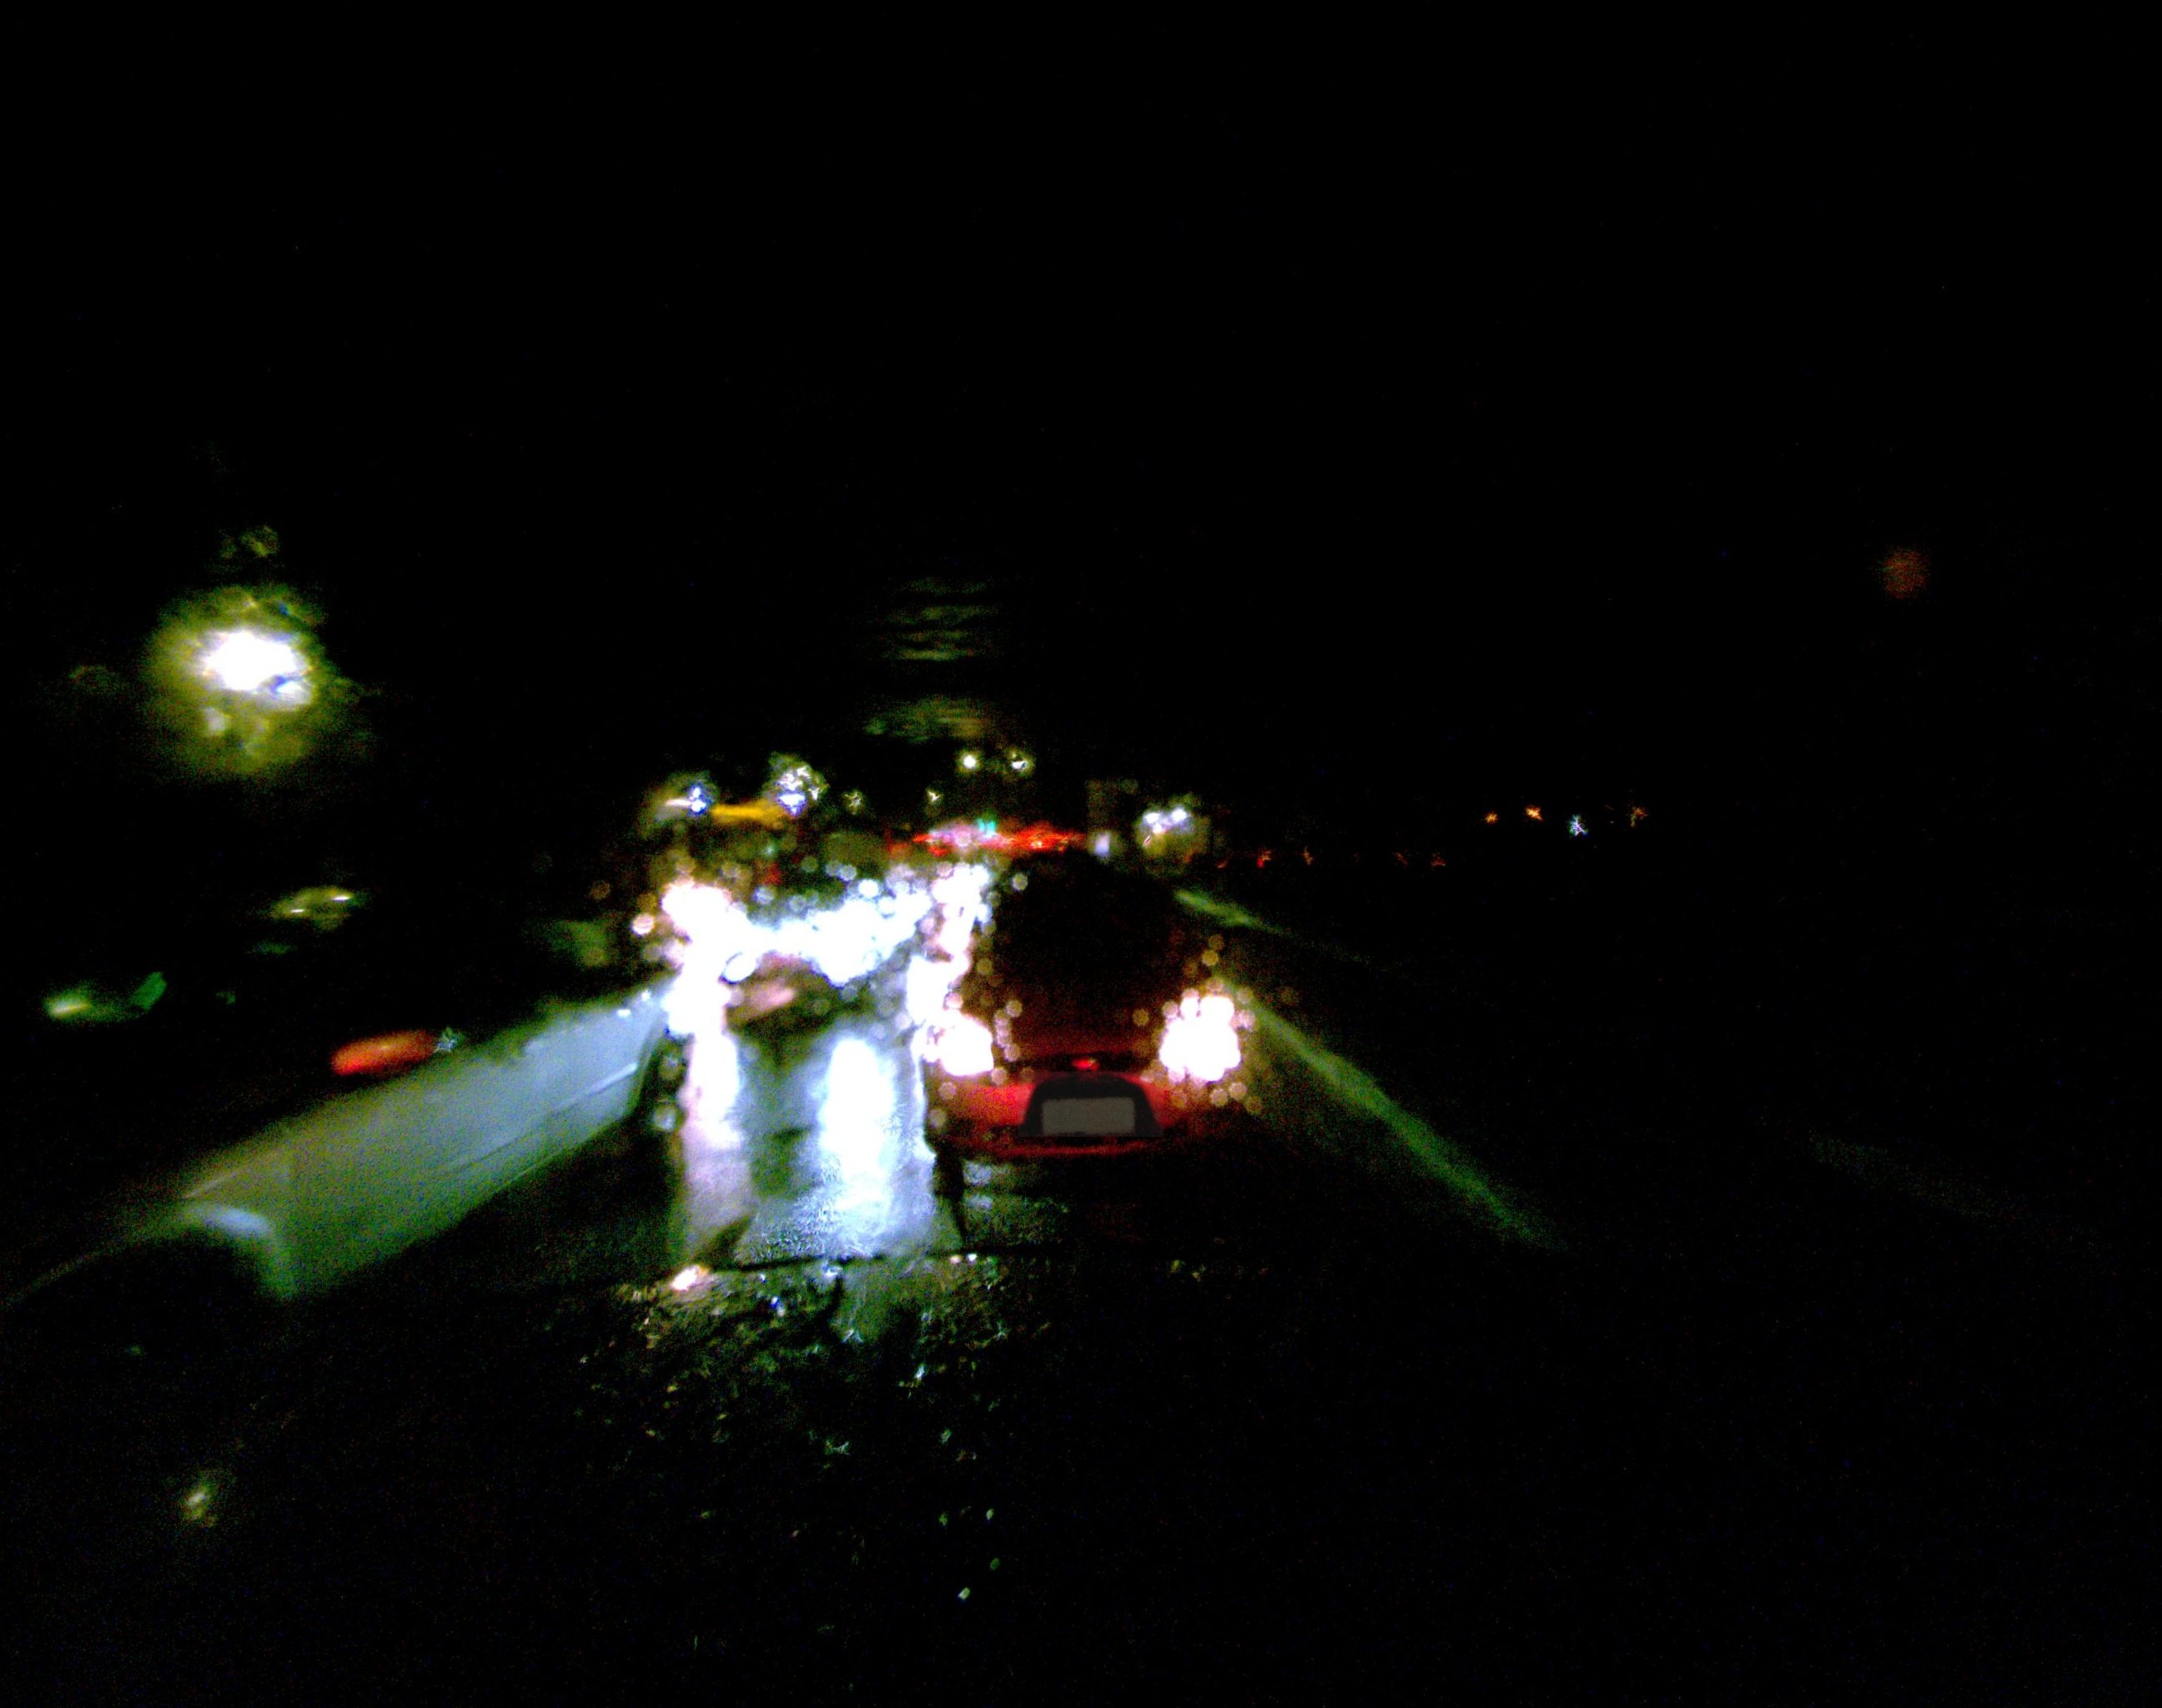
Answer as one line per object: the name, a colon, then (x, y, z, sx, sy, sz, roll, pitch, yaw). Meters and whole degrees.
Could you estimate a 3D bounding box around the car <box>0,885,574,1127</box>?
car: (-6.700, 1.089, 6.964, 1.755, 1.422, 3.758, -1, 0, -4)

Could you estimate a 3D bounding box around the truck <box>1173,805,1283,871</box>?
truck: (10.072, -1.053, 52.050, 6.360, 4.152, 3.976, -2, 1, 28)

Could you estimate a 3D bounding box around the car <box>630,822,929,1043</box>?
car: (-3.356, 0.741, 9.554, 1.999, 2.076, 4.347, -2, 1, -1)

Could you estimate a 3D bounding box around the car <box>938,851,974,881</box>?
car: (-7.234, 0.638, 44.281, 1.743, 1.581, 3.997, -2, 1, -6)

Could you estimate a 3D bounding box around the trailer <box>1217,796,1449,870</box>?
trailer: (16.262, -1.277, 50.113, 13.893, 4.152, 3.973, -2, 1, 16)

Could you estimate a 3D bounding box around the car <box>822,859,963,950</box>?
car: (-3.728, 0.936, 15.716, 1.869, 1.503, 3.766, -2, 1, 1)

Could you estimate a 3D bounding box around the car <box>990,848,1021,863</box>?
car: (-8.622, 0.227, 86.600, 2.003, 1.596, 3.991, -3, 1, -30)

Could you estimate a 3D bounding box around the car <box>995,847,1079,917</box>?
car: (-1.099, 0.637, 19.679, 1.881, 1.534, 3.999, -2, 1, -2)

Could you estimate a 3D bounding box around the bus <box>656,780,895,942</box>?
bus: (-7.207, 0.148, 19.869, 2.777, 3.105, 9.758, -2, 0, -4)

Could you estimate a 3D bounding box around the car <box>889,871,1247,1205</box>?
car: (-0.034, 0.898, 5.484, 1.603, 1.360, 3.942, -2, 1, 1)

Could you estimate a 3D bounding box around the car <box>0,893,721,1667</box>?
car: (-3.163, 1.011, 2.683, 1.792, 1.359, 3.999, -2, 2, 0)

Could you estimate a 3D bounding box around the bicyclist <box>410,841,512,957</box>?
bicyclist: (-9.916, 0.692, 12.188, 0.798, 1.752, 0.901, -2, 1, 1)

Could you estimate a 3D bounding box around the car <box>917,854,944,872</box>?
car: (-13.078, 0.763, 65.727, 1.883, 1.463, 3.994, -3, 1, -16)

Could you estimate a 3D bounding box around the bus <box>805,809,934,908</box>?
bus: (-7.812, 0.162, 29.587, 2.777, 3.105, 9.758, -2, 0, -4)

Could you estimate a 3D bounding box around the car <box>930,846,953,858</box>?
car: (-19.587, -0.277, 106.455, 1.826, 1.595, 4.133, -3, 1, -31)

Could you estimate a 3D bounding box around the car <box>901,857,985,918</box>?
car: (-3.908, 0.897, 22.165, 1.629, 1.494, 3.999, -2, 1, 1)

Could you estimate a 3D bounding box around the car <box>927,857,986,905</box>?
car: (-4.372, 0.899, 27.212, 1.683, 1.463, 3.998, -2, 1, -4)

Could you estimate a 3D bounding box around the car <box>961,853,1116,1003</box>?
car: (-0.454, 0.841, 10.594, 1.683, 1.591, 3.996, -2, 1, 1)
